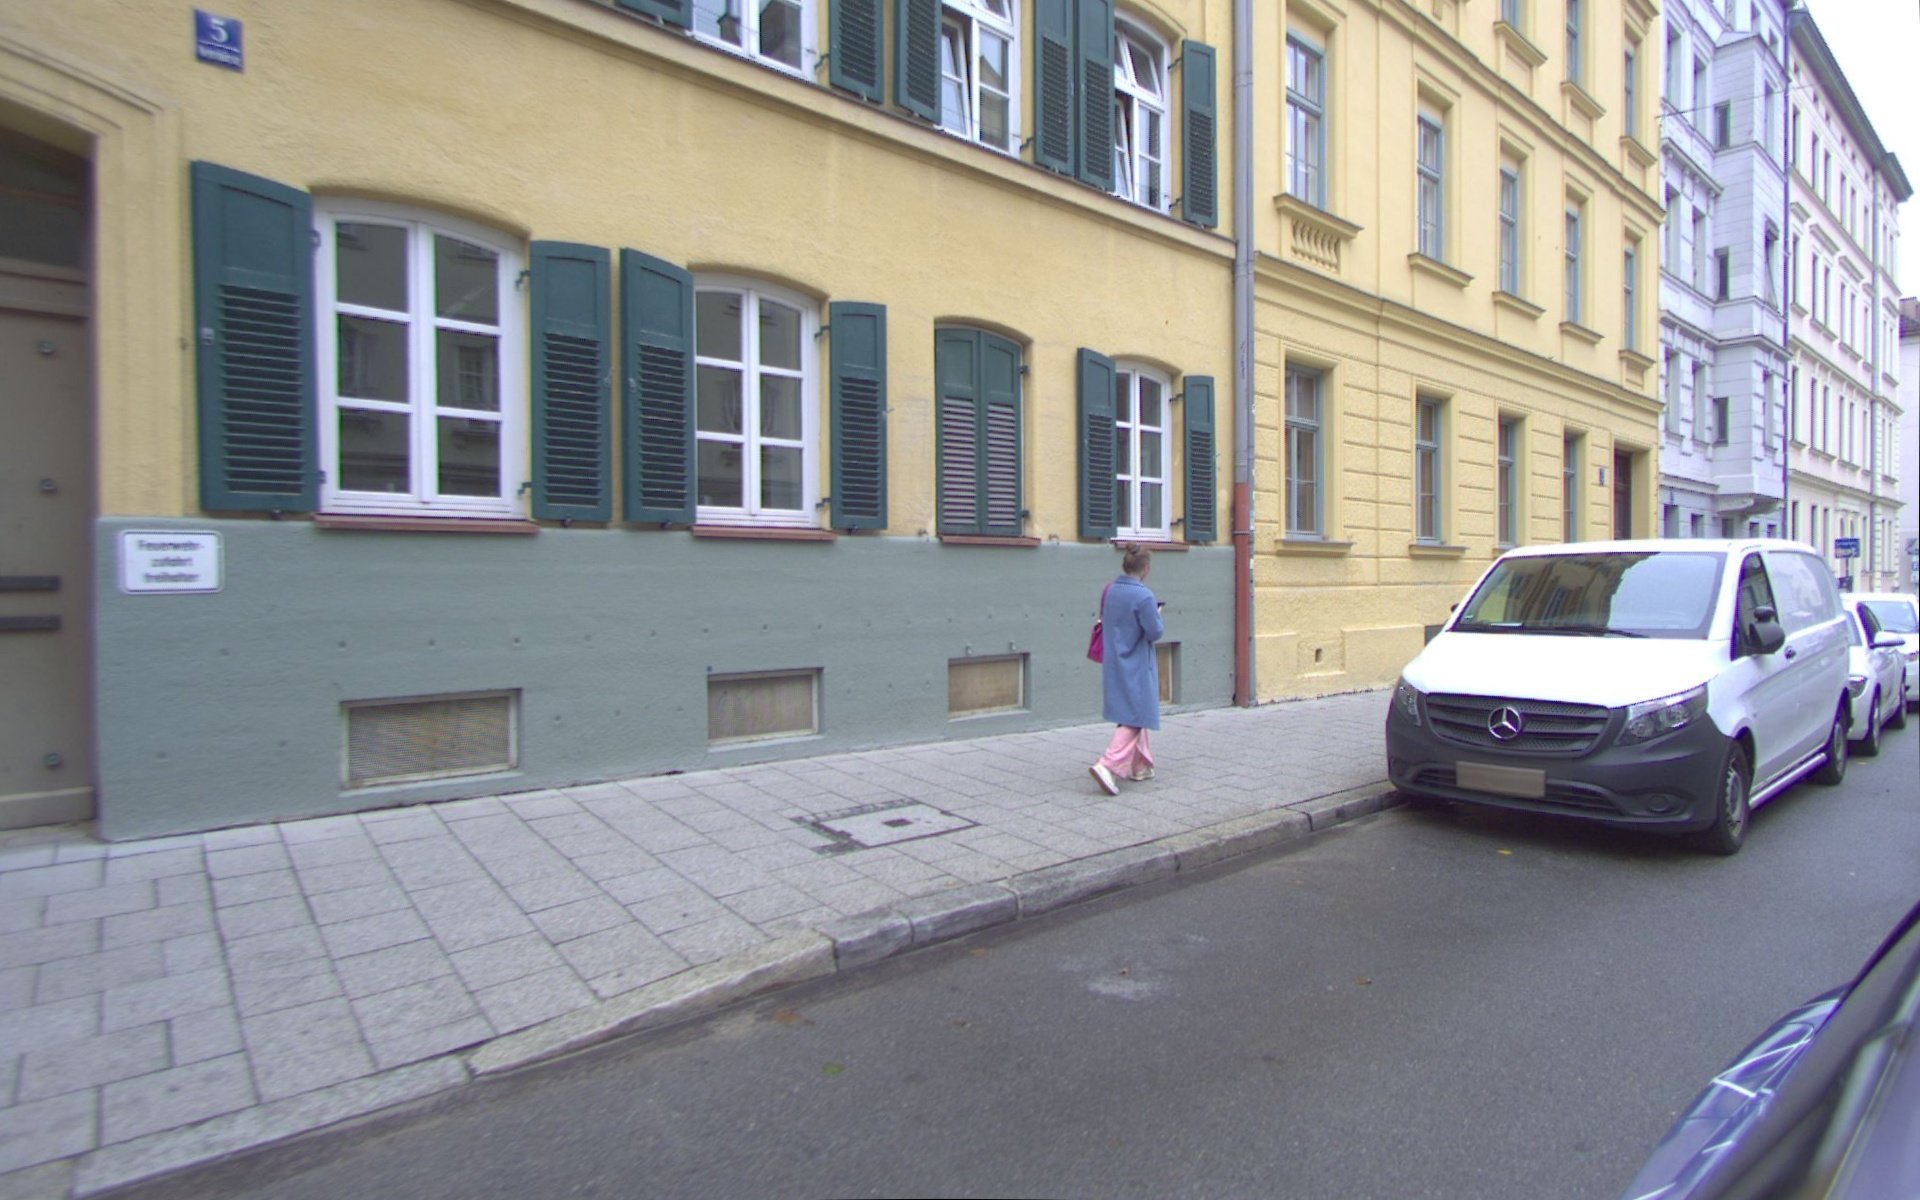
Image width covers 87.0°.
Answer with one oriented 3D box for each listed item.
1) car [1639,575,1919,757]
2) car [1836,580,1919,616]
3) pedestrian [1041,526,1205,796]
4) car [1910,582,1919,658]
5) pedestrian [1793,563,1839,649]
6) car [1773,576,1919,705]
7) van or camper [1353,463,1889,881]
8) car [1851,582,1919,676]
[{"bbox_3d":[8.874,0.510,10.703,4.510,1.528,1.818,-1,1,-43],"label":"car"},{"bbox_3d":[42.892,-0.115,46.407,1.683,1.585,3.992,-1,1,-43],"label":"car"},{"bbox_3d":[1.088,0.359,6.731,0.881,1.658,0.598,0,4,-42],"label":"pedestrian"},{"bbox_3d":[21.408,0.398,21.378,3.871,1.528,1.719,-1,1,-43],"label":"car"},{"bbox_3d":[19.191,0.130,22.694,0.791,1.886,0.702,0,0,-42],"label":"pedestrian"},{"bbox_3d":[12.403,0.440,13.659,3.696,1.528,1.626,-1,1,-41],"label":"car"},{"bbox_3d":[5.081,0.304,7.399,5.142,2.039,1.997,-1,1,-41],"label":"van or camper"},{"bbox_3d":[17.333,0.445,17.926,4.390,1.528,1.720,-1,1,-41],"label":"car"}]
